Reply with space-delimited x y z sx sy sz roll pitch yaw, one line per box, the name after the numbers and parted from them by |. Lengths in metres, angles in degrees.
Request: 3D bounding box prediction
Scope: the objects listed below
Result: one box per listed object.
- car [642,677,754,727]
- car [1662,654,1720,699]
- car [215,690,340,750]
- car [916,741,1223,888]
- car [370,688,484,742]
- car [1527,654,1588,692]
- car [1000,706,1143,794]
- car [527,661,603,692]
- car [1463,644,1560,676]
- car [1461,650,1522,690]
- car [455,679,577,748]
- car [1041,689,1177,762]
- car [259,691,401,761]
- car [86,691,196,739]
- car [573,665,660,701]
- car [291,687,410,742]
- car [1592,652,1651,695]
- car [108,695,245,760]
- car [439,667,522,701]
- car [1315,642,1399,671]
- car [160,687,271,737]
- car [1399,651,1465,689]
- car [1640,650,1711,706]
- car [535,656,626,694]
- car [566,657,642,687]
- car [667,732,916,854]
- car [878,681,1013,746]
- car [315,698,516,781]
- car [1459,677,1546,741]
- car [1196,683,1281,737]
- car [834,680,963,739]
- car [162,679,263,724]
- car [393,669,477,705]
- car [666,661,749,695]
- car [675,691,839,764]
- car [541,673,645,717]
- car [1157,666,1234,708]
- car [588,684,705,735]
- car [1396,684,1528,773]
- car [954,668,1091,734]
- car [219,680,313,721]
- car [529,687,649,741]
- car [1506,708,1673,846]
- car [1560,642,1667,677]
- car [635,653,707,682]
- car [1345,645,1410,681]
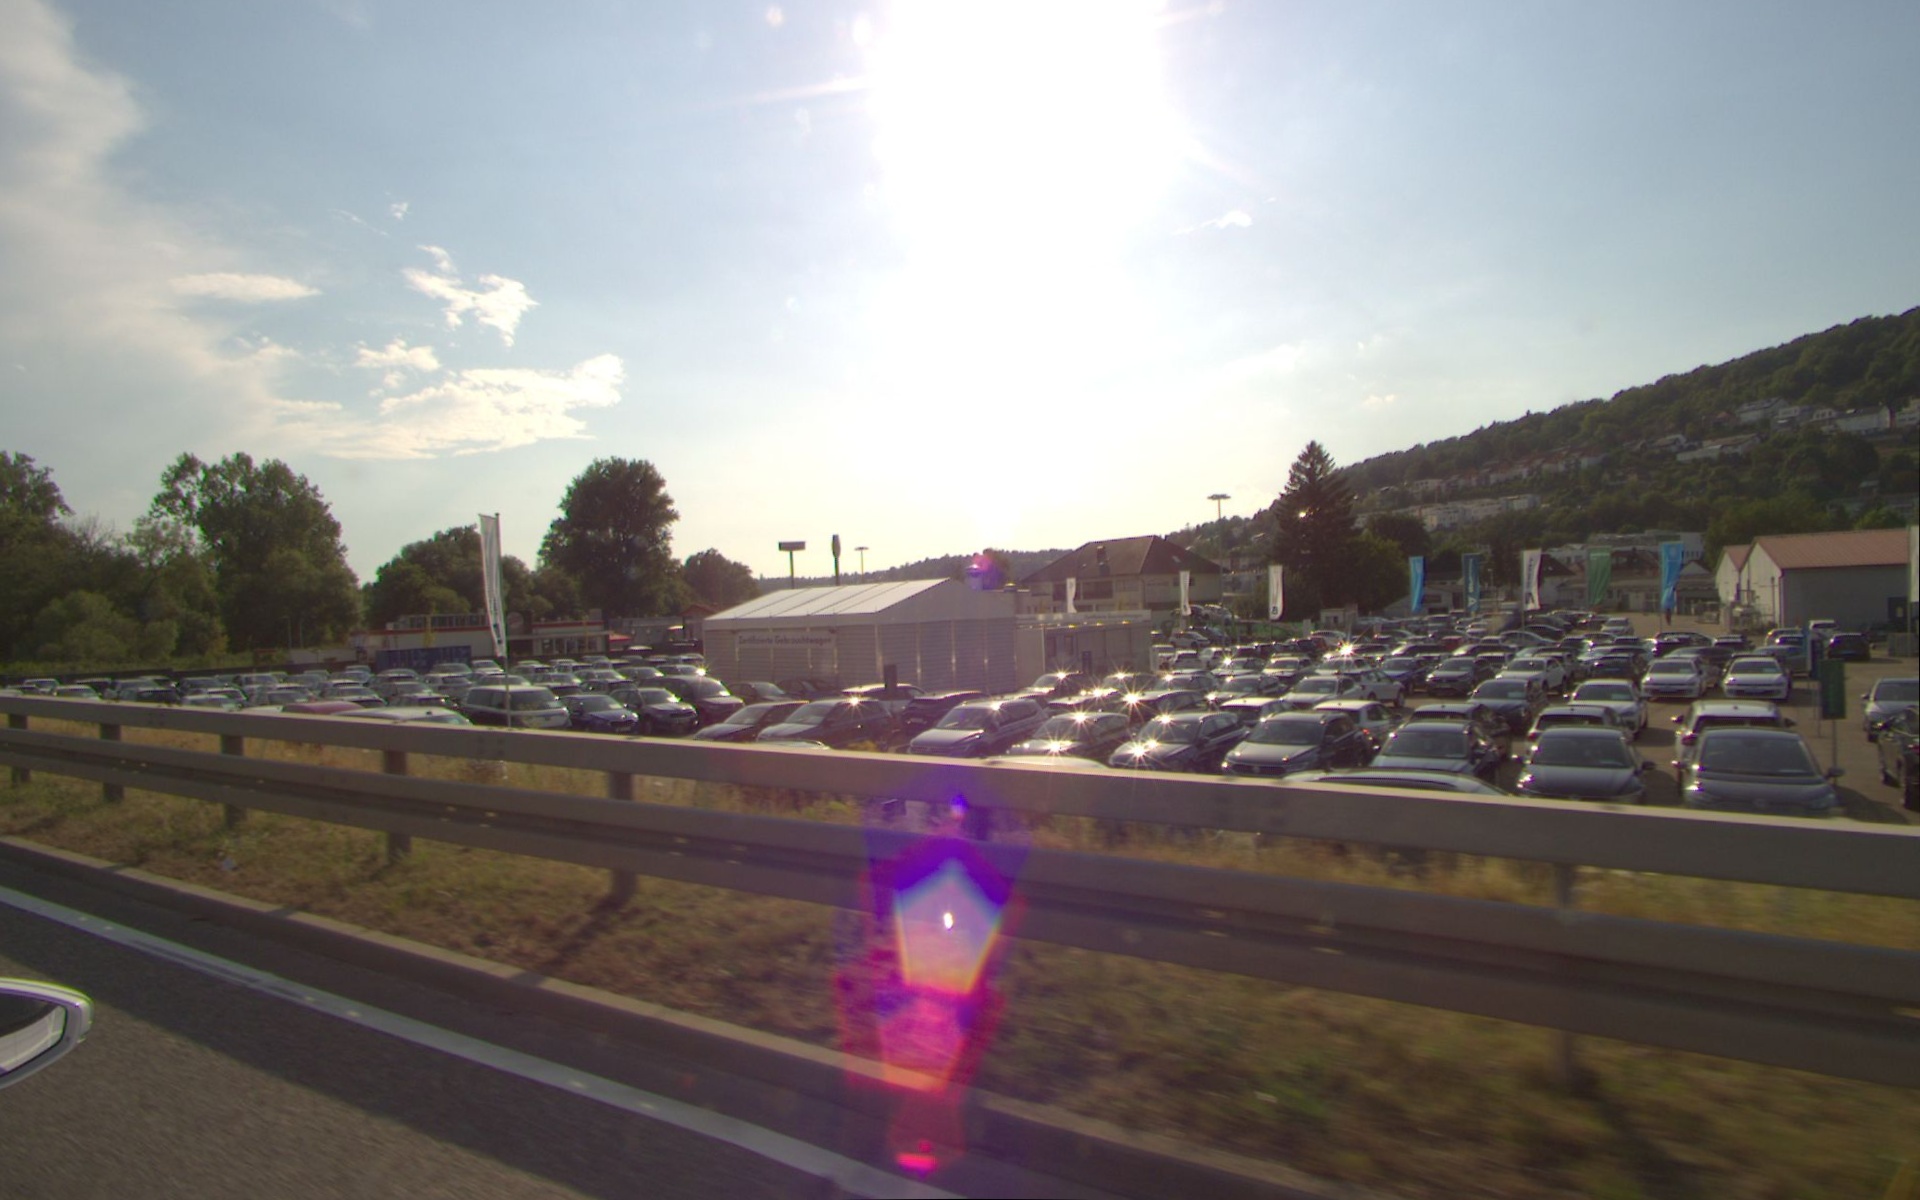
-9.988 3.806 37.978 4.678 1.657 1.870 -3 -3 42 | car
30.500 3.147 41.725 1.736 1.661 3.936 -3 -3 39 | car
-22.153 3.832 32.453 4.668 1.657 1.874 -3 -2 35 | car
1.602 3.087 15.040 4.247 1.646 1.736 -2 -2 29 | car
-19.374 4.115 36.326 4.671 1.657 1.873 -3 -3 37 | car
26.686 3.218 44.696 1.810 1.521 3.972 -3 -3 38 | car
2.603 3.332 22.809 1.610 1.594 3.461 -3 -3 39 | car
-22.431 4.305 56.805 4.670 1.657 1.874 -3 -2 37 | car
30.314 3.289 55.113 4.355 1.657 1.886 -1 -2 -8 | car
24.630 3.203 46.353 1.736 1.661 3.936 -3 -3 39 | car
-14.496 3.597 32.550 4.678 1.955 1.870 -3 -3 42 | car
4.289 3.460 28.311 1.863 1.657 4.408 -3 -3 38 | car
-17.849 3.488 28.288 4.670 1.646 1.874 -3 -3 37 | car
-33.189 4.601 40.534 4.661 1.671 1.997 -2 -2 31 | car
-17.338 4.145 50.472 4.670 1.657 1.874 -3 -3 37 | car
-21.236 3.910 34.832 4.667 1.657 1.875 -3 -2 35 | car
28.336 3.125 42.833 1.736 1.661 3.936 -3 -3 39 | car
-23.699 3.779 30.237 4.664 1.646 1.876 -3 -2 33 | car
-25.363 4.388 52.897 4.666 1.657 1.875 -3 -2 34 | car
24.256 3.418 61.209 4.355 1.657 1.886 -1 -2 -8 | car
-28.412 4.216 38.197 4.663 1.657 1.876 -3 -2 32 | car
22.681 3.312 48.062 1.738 1.661 3.931 -3 -3 42 | car
26.658 2.863 37.242 1.903 1.883 3.972 -3 -3 38 | car
-18.335 3.593 48.294 4.670 1.657 1.874 -3 -3 37 | car
-20.783 4.182 58.397 4.670 1.657 1.874 -3 -2 37 | car
-3.020 3.290 17.673 4.250 1.646 1.735 -3 -2 31 | car
-0.388 3.478 31.351 1.863 1.657 4.408 -3 -3 38 | car
-12.821 3.190 23.528 4.656 1.646 1.879 -2 -2 27 | car
15.906 3.141 29.277 1.610 1.594 3.461 -3 -3 39 | car
9.685 3.745 34.708 1.610 1.594 3.461 -3 -3 39 | car
-1.991 3.604 33.636 1.863 1.657 4.408 -3 -3 38 | car
-31.587 4.233 42.270 4.599 1.737 1.833 -2 -2 31 | car
-26.412 4.341 50.332 4.668 1.657 1.874 -3 -2 36 | car
-13.561 4.153 53.676 4.516 1.657 1.874 -3 -3 37 | car
-5.692 3.538 28.515 1.863 1.657 4.408 -3 -3 38 | car
-15.401 3.921 41.960 4.671 1.657 1.873 -3 -3 37 | car
10.074 3.679 42.715 3.454 1.594 1.613 1 -3 -45 | car
-11.336 3.882 36.049 4.678 1.541 1.870 -3 -3 42 | car
11.803 2.899 23.411 1.863 1.657 4.408 -3 -3 38 | car
1.927 2.928 29.751 1.863 1.657 4.408 -3 -3 38 | car
-31.123 4.452 44.893 4.665 1.657 1.876 -3 -2 33 | car
-12.746 3.838 34.242 4.678 1.541 1.870 -3 -3 42 | car
10.624 2.797 16.755 1.863 1.657 4.408 -3 -3 38 | car
33.187 2.993 50.936 4.355 1.657 1.886 -1 -2 -8 | car
-18.047 4.200 62.436 4.670 1.657 1.874 -3 -2 37 | car
20.752 3.093 49.746 1.738 1.661 3.931 -3 -3 42 | car
